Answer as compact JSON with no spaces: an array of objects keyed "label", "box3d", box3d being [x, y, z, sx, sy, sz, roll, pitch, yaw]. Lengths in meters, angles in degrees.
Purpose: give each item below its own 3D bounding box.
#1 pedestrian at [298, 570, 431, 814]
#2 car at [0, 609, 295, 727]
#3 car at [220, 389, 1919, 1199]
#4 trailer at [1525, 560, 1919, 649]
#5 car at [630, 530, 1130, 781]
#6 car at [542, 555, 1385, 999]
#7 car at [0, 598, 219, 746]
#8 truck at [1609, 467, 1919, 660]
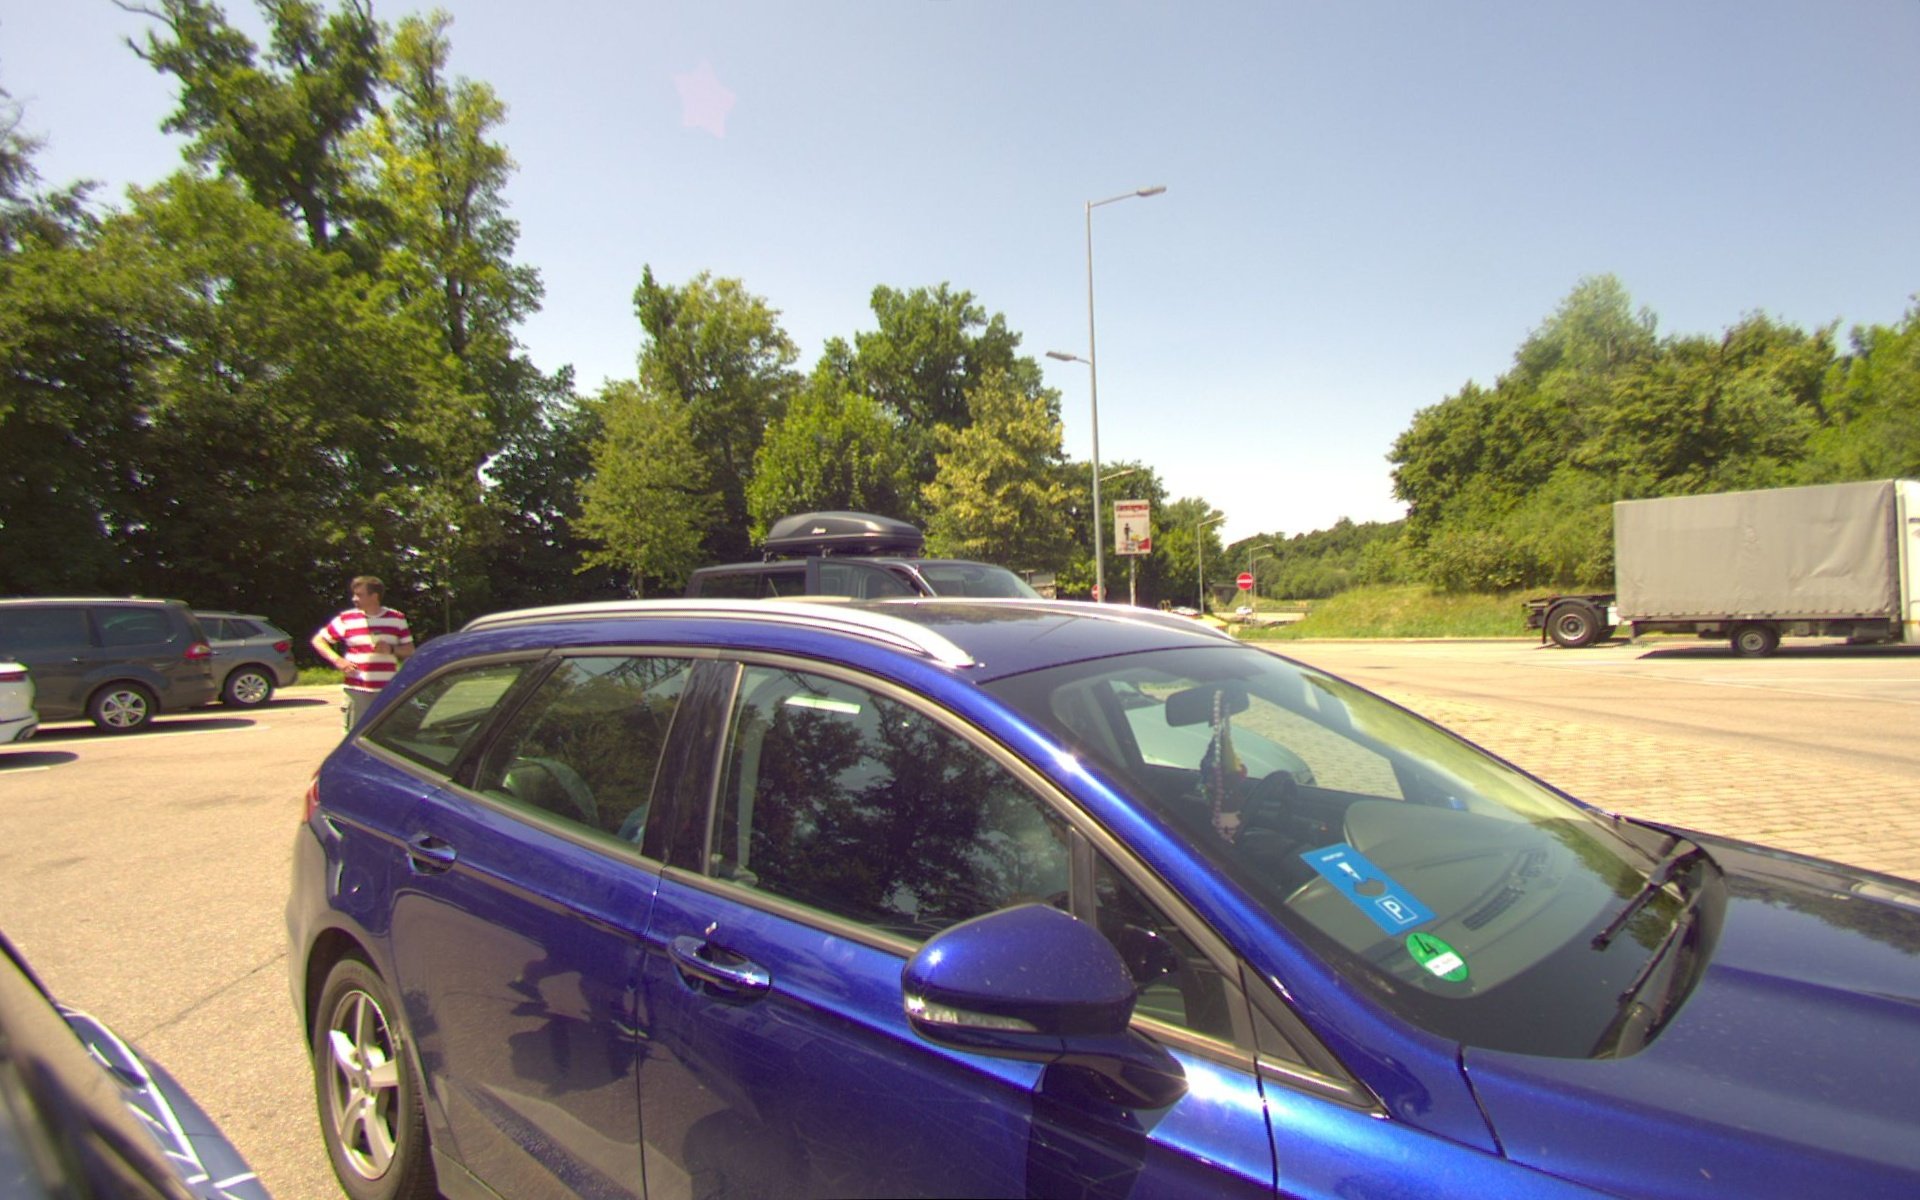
[{"label":"pedestrian","box3d":[-4.637,0.667,7.876,0.743,1.767,0.786,-1,0,-42]},{"label":"car","box3d":[-12.611,0.968,15.653,3.767,1.572,1.654,-1,0,-38]},{"label":"car","box3d":[0.245,0.632,2.062,4.569,1.482,1.735,-3,0,40]},{"label":"trailer","box3d":[17.718,0.150,23.098,8.098,1.638,2.187,-4,-1,41]},{"label":"car","box3d":[-0.880,0.495,9.648,4.558,1.912,1.740,-3,0,32]},{"label":"car","box3d":[-0.310,0.667,5.599,4.569,1.517,1.735,-3,0,40]},{"label":"car","box3d":[-11.619,0.864,12.646,3.767,1.708,1.654,-1,0,-38]},{"label":"truck","box3d":[16.793,-0.654,19.000,7.274,3.269,2.678,-4,-1,42]}]
